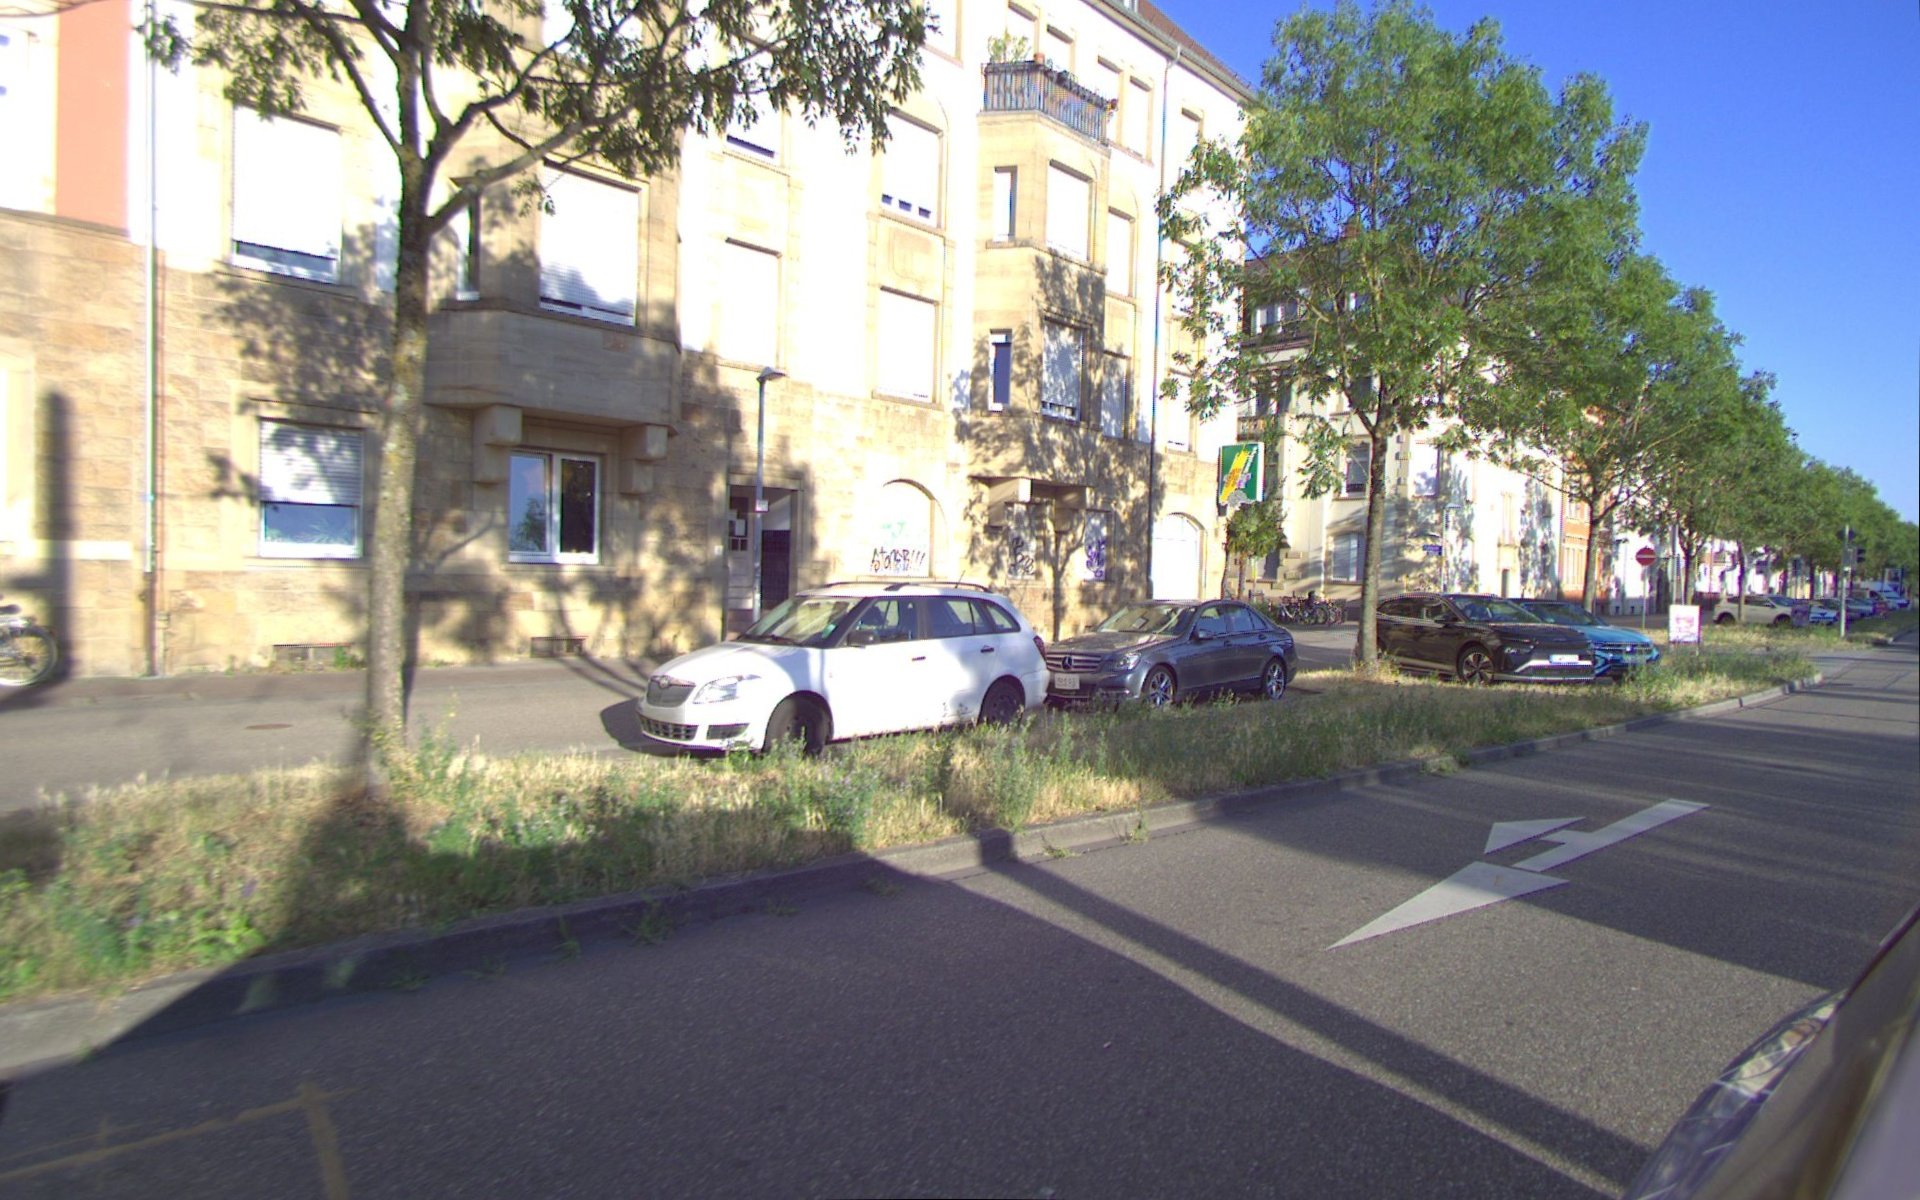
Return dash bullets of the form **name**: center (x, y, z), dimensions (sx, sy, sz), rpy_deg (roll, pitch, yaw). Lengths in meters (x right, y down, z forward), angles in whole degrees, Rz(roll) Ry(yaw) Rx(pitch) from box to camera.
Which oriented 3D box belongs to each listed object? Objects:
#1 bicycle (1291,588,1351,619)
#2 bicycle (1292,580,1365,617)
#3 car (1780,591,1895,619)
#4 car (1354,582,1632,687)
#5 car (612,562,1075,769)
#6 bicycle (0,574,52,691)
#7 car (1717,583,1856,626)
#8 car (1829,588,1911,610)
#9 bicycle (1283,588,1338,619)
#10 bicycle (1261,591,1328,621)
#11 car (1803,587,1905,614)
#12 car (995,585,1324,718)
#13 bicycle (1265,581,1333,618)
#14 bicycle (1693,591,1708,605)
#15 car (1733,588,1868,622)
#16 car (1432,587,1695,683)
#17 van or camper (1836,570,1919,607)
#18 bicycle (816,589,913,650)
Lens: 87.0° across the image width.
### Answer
- **bicycle**: center (14.256, 0.123, 40.006), dimensions (2.204, 1.119, 0.530), rpy_deg (3, 2, 43)
- **bicycle**: center (14.794, -0.083, 40.693), dimensions (2.664, 1.401, 0.719), rpy_deg (3, 2, 43)
- **car**: center (48.528, 0.226, 56.090), dimensions (1.857, 1.365, 4.593), rpy_deg (1, 2, -11)
- **car**: center (8.974, 0.532, 17.548), dimensions (1.960, 1.591, 4.349), rpy_deg (1, 0, -11)
- **car**: center (-0.915, 0.492, 9.596), dimensions (4.202, 1.531, 1.726), rpy_deg (0, -1, -45)
- **bicycle**: center (-10.515, 0.341, 10.421), dimensions (1.717, 1.178, 0.484), rpy_deg (0, 7, -44)
- **car**: center (35.211, 0.153, 43.297), dimensions (1.877, 1.712, 4.440), rpy_deg (1, 1, -9)
- **car**: center (64.890, -0.110, 72.252), dimensions (1.691, 1.455, 4.062), rpy_deg (0, 1, -16)
- **bicycle**: center (13.713, 0.134, 39.653), dimensions (1.972, 1.138, 0.566), rpy_deg (3, 2, 43)
- **bicycle**: center (12.643, 0.206, 38.277), dimensions (2.327, 1.063, 0.719), rpy_deg (3, 2, 43)
- **car**: center (55.499, 0.026, 62.971), dimensions (1.809, 1.528, 4.655), rpy_deg (1, 1, -8)
- **car**: center (2.833, 0.567, 13.553), dimensions (4.828, 1.463, 1.946), rpy_deg (0, -1, -45)
- **bicycle**: center (13.043, -0.026, 38.990), dimensions (2.349, 1.336, 0.719), rpy_deg (3, 2, 43)
- **bicycle**: center (54.390, -0.187, 74.359), dimensions (1.896, 1.003, 0.579), rpy_deg (0, 2, -45)
- **car**: center (39.356, 0.198, 47.533), dimensions (1.988, 1.417, 4.565), rpy_deg (0, 2, -13)
- **car**: center (11.110, 0.566, 19.052), dimensions (1.808, 1.541, 4.296), rpy_deg (1, 1, -11)
- **van or camper**: center (76.092, -0.990, 83.430), dimensions (2.158, 2.847, 5.663), rpy_deg (1, 1, -12)
- **bicycle**: center (-1.778, 0.347, 19.101), dimensions (1.865, 1.086, 0.573), rpy_deg (0, 3, -44)
